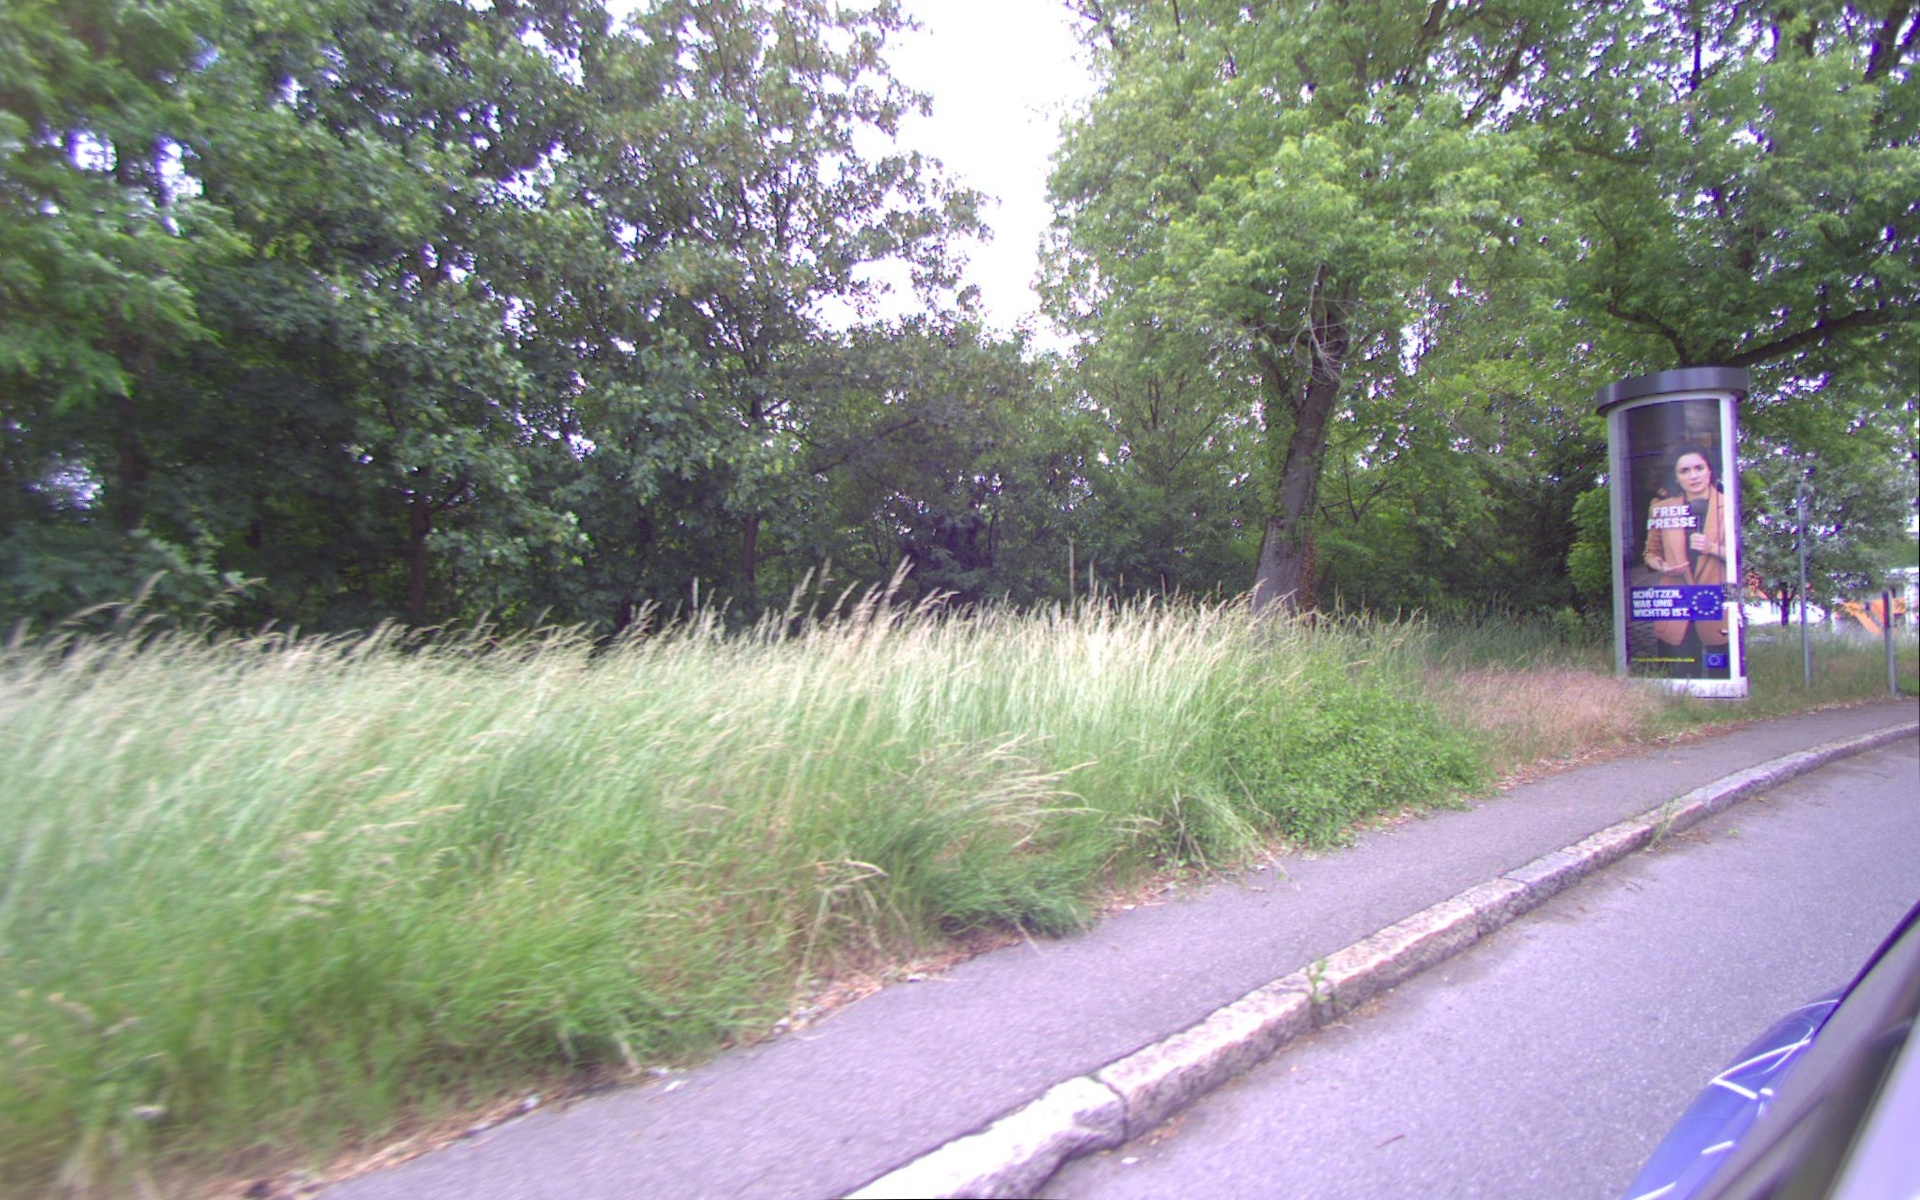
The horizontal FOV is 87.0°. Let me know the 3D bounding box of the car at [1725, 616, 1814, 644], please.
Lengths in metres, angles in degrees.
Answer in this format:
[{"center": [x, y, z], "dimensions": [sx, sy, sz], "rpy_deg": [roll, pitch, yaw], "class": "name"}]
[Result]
[{"center": [108.769, 4.042, 136.188], "dimensions": [8.169, 3.426, 3.980], "rpy_deg": [-3, -3, 18], "class": "car"}]
